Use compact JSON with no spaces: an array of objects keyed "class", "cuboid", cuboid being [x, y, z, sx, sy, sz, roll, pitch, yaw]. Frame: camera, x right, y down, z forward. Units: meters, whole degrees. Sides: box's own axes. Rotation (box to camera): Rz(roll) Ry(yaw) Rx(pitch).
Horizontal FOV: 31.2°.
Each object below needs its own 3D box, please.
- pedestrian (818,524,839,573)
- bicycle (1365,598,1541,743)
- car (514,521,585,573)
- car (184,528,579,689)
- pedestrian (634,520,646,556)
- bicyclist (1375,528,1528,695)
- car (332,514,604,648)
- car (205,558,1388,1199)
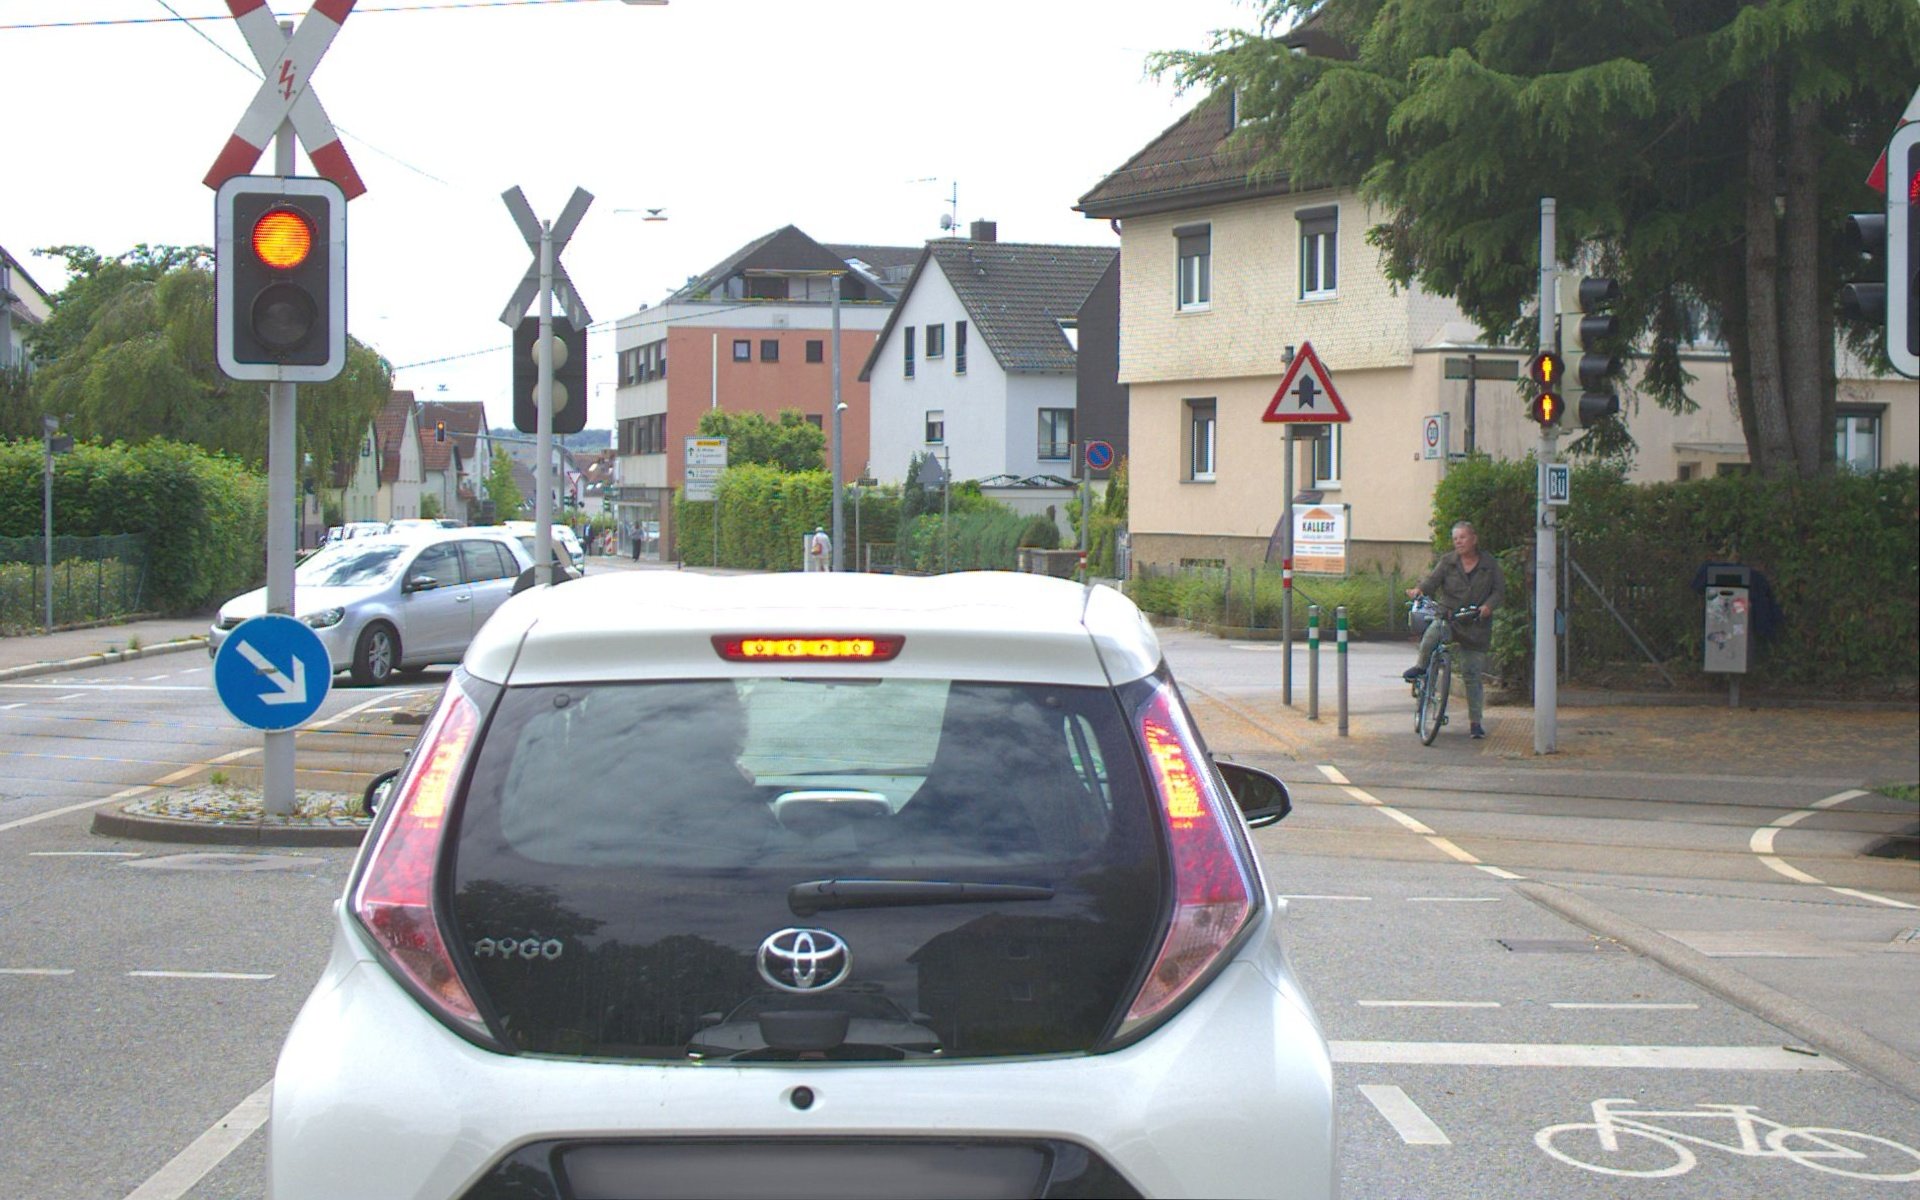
[{"class":"pedestrian","cuboid":[-3.880,-1.526,101.497,0.414,1.433,0.436,3,2,44]},{"class":"bicycle","cuboid":[3.794,0.519,26.334,0.933,1.037,1.913,0,1,21]},{"class":"car","cuboid":[-12.784,-1.657,106.953,1.774,1.556,4.171,0,2,-12]},{"class":"car","cuboid":[-5.741,0.034,34.547,1.691,1.453,4.063,2,3,30]},{"class":"pedestrian","cuboid":[-13.114,-2.537,140.898,0.413,1.433,0.438,1,1,-11]},{"class":"bicyclist","cuboid":[3.759,0.074,26.236,0.933,1.243,1.101,0,1,21]},{"class":"car","cuboid":[-5.783,-0.217,40.581,1.579,1.505,2.781,2,1,42]},{"class":"car","cuboid":[-0.249,0.670,6.732,1.621,1.481,4.000,0,1,-1]}]
